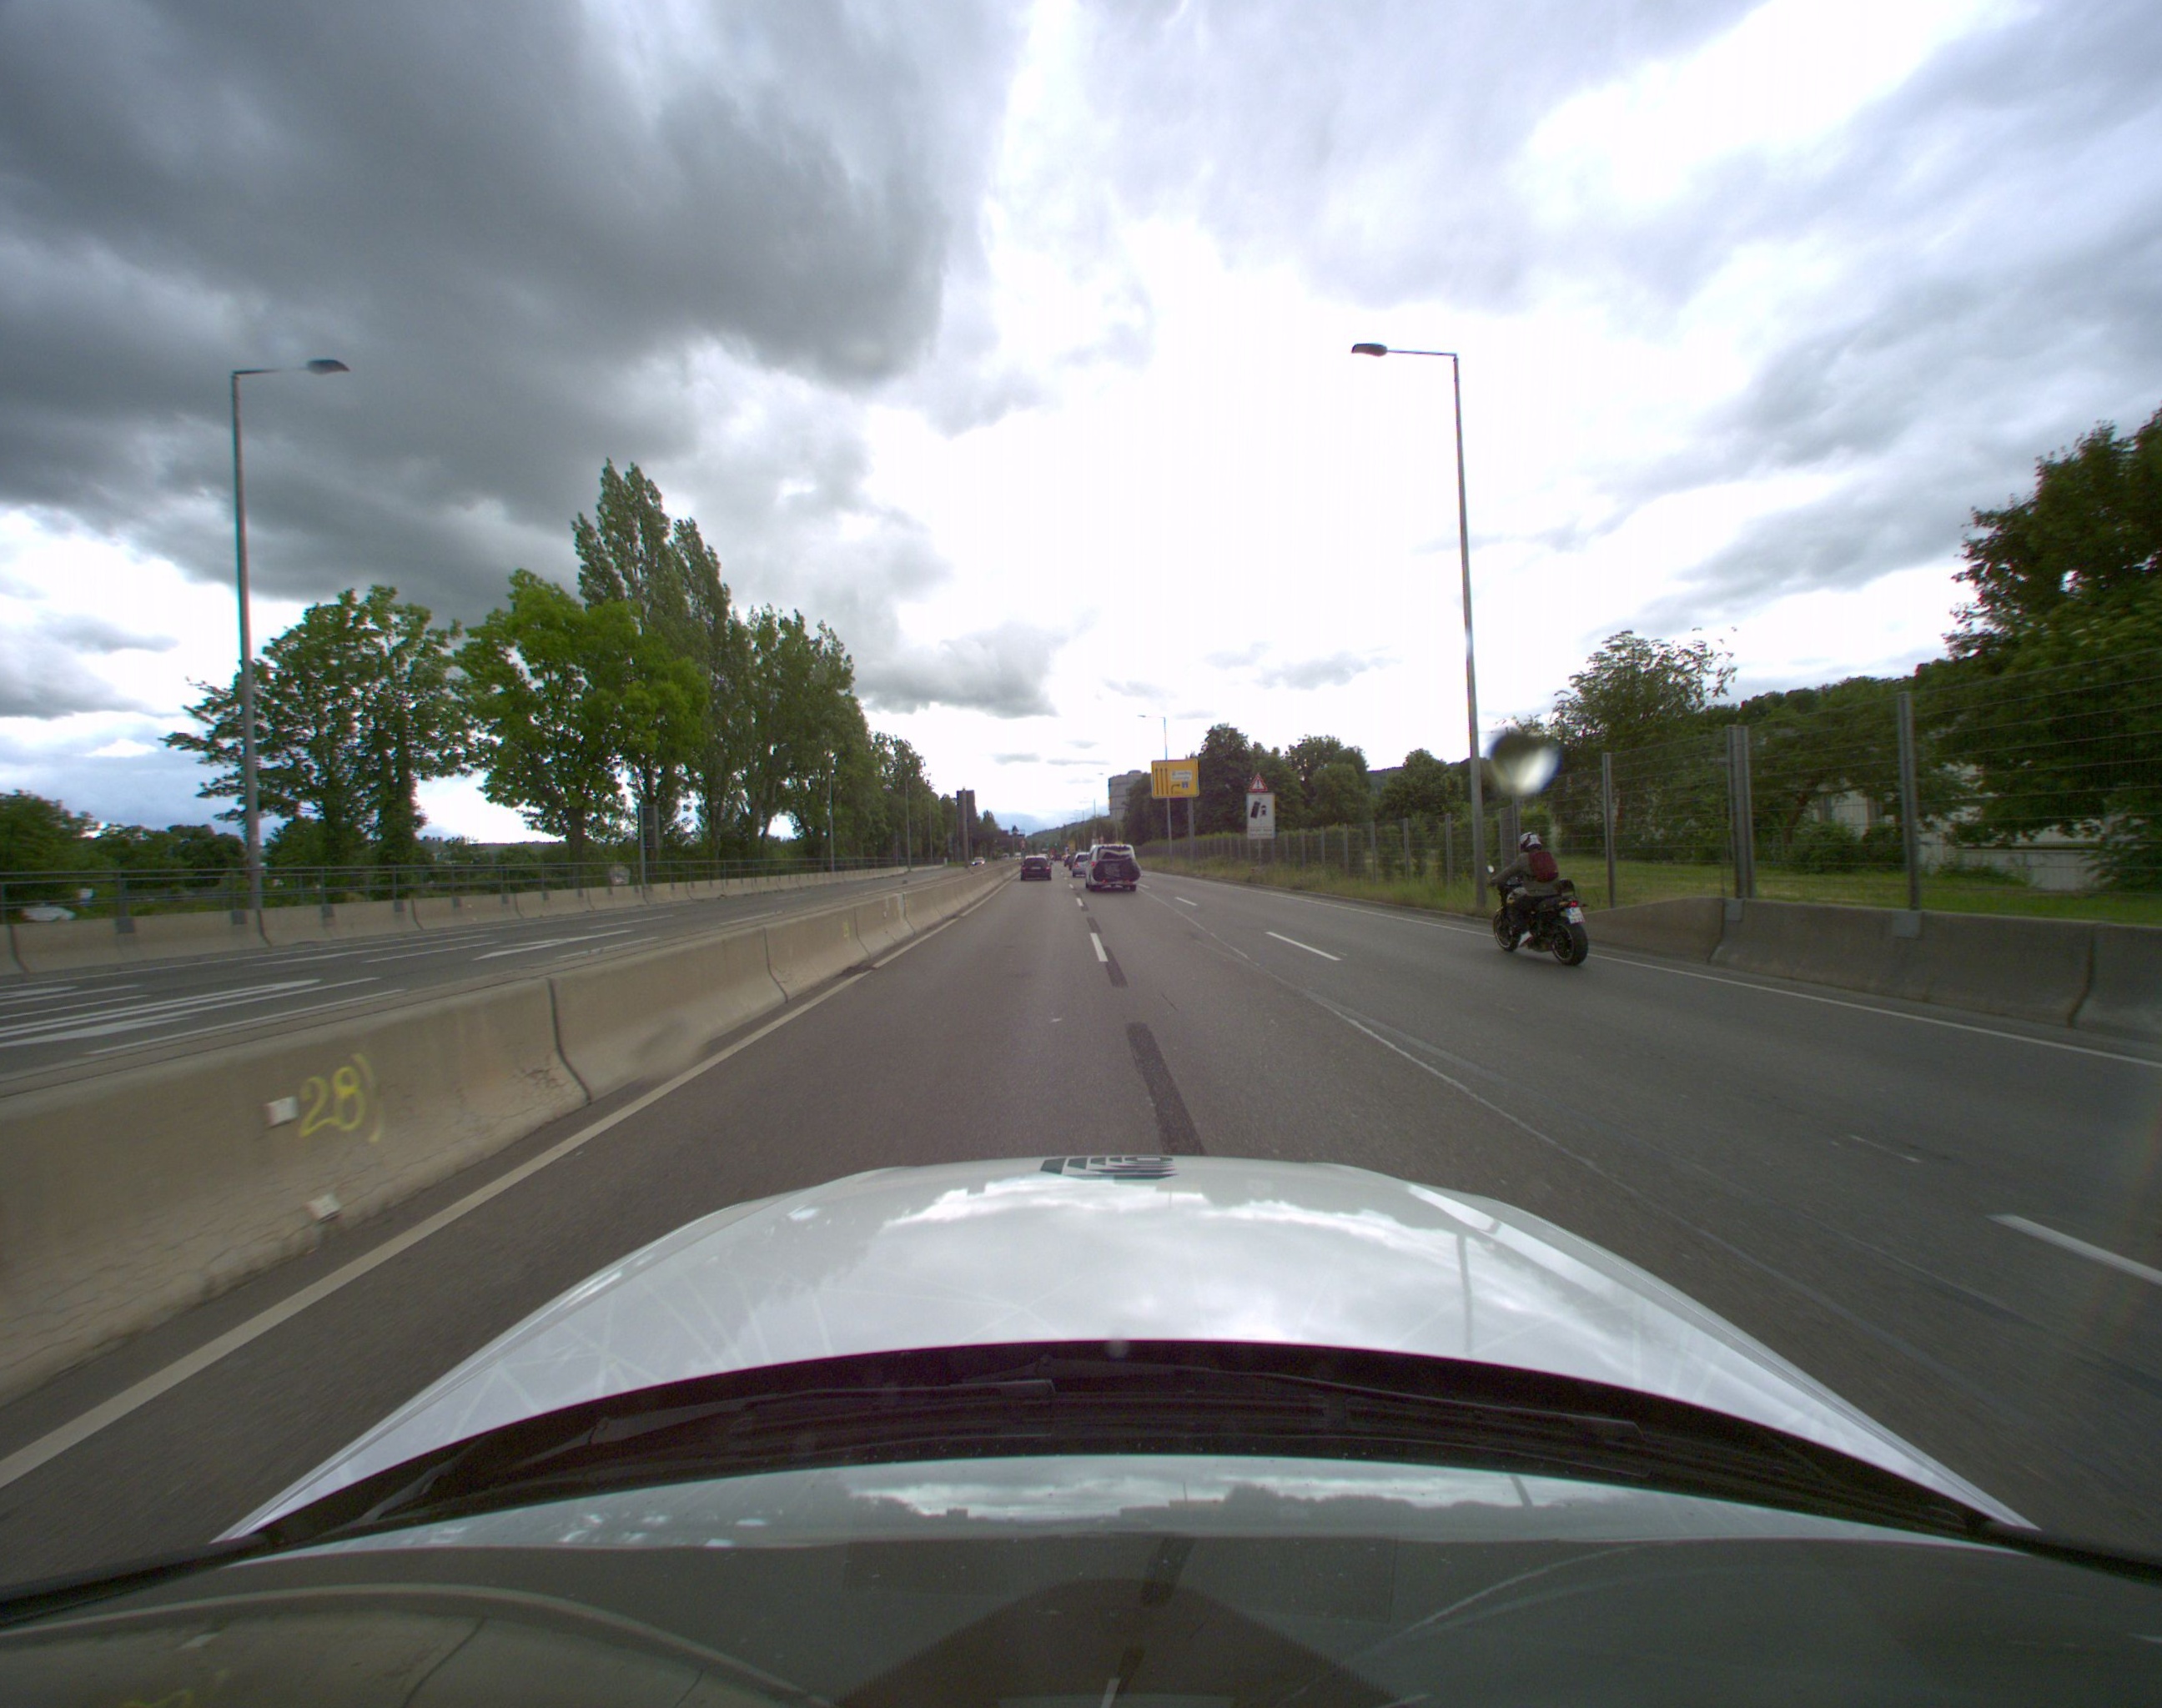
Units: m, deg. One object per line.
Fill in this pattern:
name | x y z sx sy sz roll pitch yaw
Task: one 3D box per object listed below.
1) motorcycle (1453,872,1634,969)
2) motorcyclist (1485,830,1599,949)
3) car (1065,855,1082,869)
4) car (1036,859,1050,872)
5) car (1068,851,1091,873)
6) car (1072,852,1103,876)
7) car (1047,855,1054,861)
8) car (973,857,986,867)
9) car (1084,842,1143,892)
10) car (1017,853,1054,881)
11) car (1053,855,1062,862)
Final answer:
motorcycle | 6.109 0.819 11.016 0.742 1.083 2.660 -2 0 -4
motorcyclist | 6.104 0.449 10.841 0.911 1.477 0.965 -2 0 -5
car | -0.895 0.966 100.054 1.987 1.669 3.998 0 0 -1
car | -5.422 1.648 116.414 1.989 1.673 3.996 -1 -1 -3
car | -0.172 0.730 75.318 1.988 1.860 3.997 -2 0 -2
car | 0.374 0.625 53.209 1.915 1.489 4.064 -2 0 -1
car | -8.956 1.088 238.348 1.990 1.654 3.993 -1 0 -5
car | -13.994 1.093 112.865 1.731 1.374 3.608 -2 0 -7
car | 1.226 0.483 33.296 1.988 1.859 5.636 0 0 -2
car | -2.595 0.718 47.166 1.809 1.434 4.065 -3 0 0
car | -5.778 1.010 199.526 1.989 1.654 3.996 -1 0 -3
